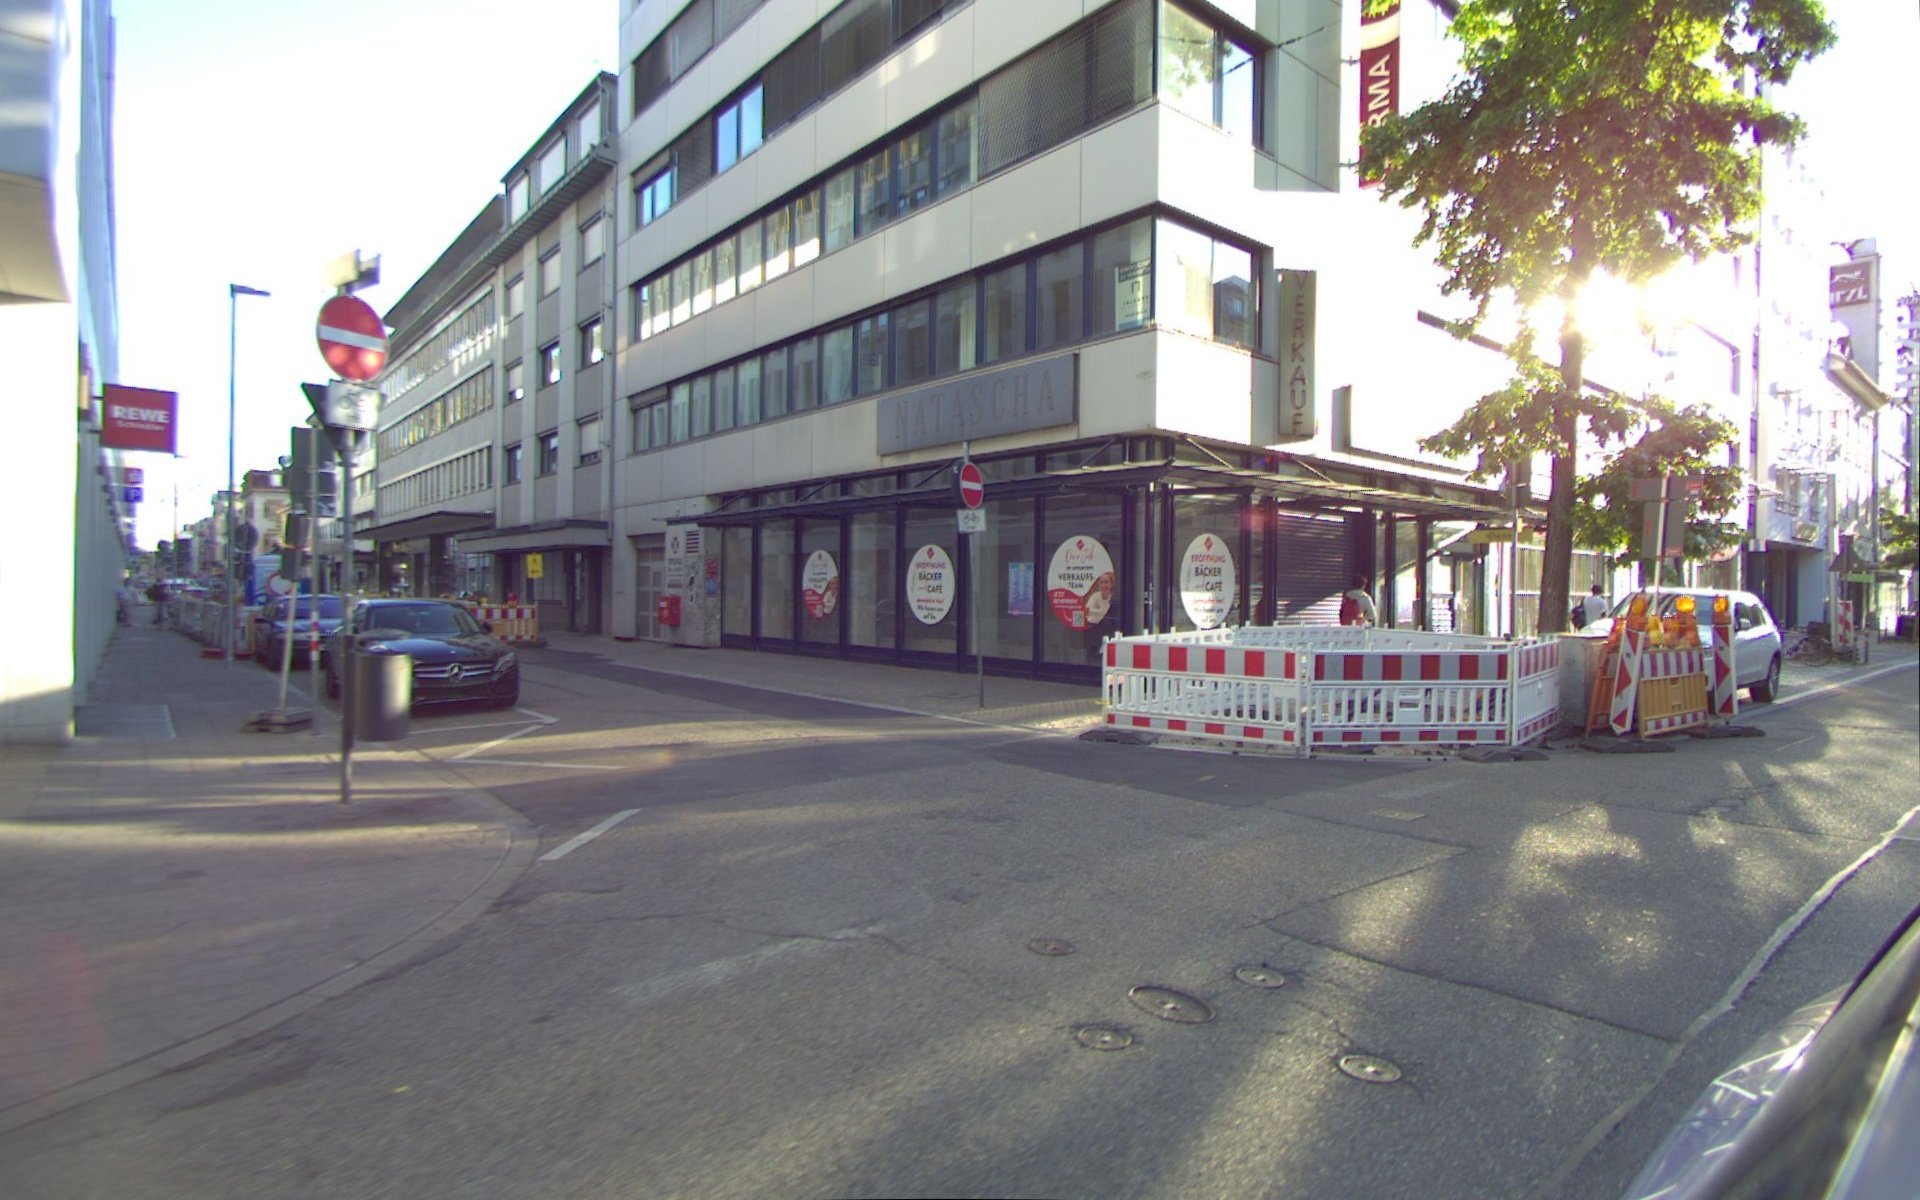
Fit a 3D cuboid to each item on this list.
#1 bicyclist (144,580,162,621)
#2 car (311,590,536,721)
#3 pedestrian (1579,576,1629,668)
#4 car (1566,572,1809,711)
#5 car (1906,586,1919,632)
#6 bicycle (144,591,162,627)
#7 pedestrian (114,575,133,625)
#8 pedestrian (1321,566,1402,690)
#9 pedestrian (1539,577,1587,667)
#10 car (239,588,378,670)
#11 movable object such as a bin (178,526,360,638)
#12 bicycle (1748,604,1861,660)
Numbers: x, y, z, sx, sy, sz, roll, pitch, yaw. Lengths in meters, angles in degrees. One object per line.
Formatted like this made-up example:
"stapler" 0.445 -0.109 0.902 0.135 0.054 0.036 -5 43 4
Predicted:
"bicyclist" -27.735 0.022 34.791 0.463 1.387 0.639 0 0 -39
"car" -7.456 0.622 13.857 1.766 1.436 4.323 -2 2 -41
"pedestrian" 13.213 0.438 20.764 0.623 1.853 0.706 0 0 -40
"car" 11.482 0.529 15.833 4.822 1.758 2.027 0 3 -42
"car" 38.738 0.382 39.571 4.788 1.709 1.985 0 3 -40
"bicycle" -27.745 0.289 34.789 0.463 1.200 1.436 0 0 -39
"pedestrian" -29.507 -0.004 35.697 0.485 1.756 0.639 0 0 -39
"pedestrian" 6.504 0.432 16.395 0.901 1.921 0.836 1 1 -37
"pedestrian" 12.658 0.439 21.244 0.623 1.853 0.689 0 0 -40
"car" -13.423 0.510 20.738 1.766 1.436 4.323 -2 2 -41
"movable object such as a bin" -20.747 -0.519 30.947 2.766 2.946 8.226 0 0 -21
"bicycle" 19.681 0.720 23.619 0.824 1.148 1.821 -1 3 -32
